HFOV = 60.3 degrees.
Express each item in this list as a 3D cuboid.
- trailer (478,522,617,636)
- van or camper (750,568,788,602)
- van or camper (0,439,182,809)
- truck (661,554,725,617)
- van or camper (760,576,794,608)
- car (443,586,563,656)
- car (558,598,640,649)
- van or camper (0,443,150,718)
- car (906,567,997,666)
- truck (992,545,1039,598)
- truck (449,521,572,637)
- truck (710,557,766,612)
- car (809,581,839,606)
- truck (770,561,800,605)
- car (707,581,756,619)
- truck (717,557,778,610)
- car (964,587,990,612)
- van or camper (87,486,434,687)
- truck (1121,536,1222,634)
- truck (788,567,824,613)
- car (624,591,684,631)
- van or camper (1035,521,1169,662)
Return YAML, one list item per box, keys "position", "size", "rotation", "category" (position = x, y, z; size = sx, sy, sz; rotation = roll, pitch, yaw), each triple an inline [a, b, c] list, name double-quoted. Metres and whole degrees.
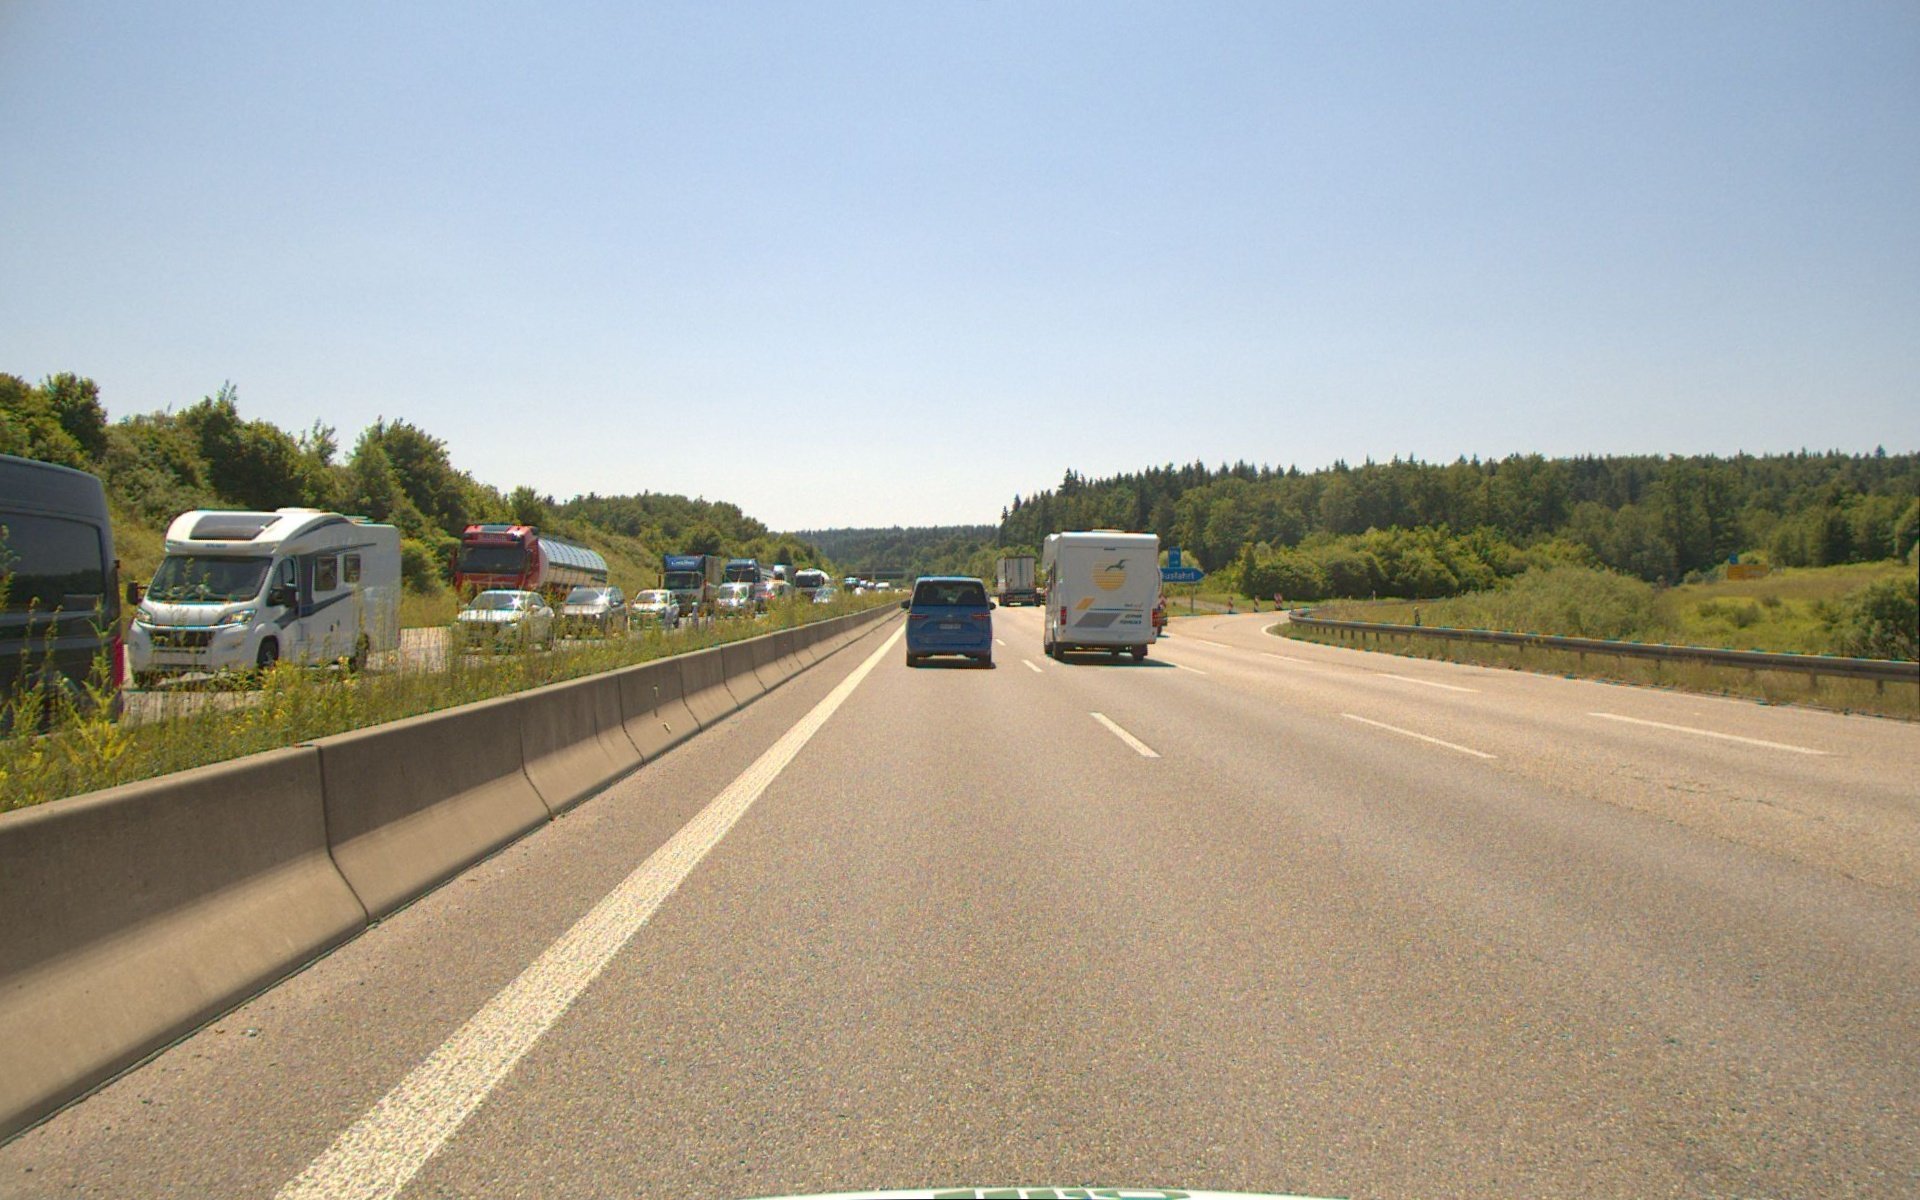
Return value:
- position: [-16.205, -0.786, 66.024]
  size: [2.625, 4.018, 12.271]
  rotation: [-3, 0, -2]
  category: "trailer"
- position: [-12.843, -0.954, 111.584]
  size: [1.953, 2.190, 5.953]
  rotation: [-1, 0, -1]
  category: "van or camper"
- position: [-7.535, 0.157, 10.118]
  size: [2.250, 2.477, 7.281]
  rotation: [0, 0, -1]
  category: "van or camper"
- position: [-16.499, -0.852, 102.896]
  size: [2.493, 3.739, 9.935]
  rotation: [0, 0, -1]
  category: "truck"
- position: [-12.923, -0.560, 117.049]
  size: [1.953, 2.190, 4.716]
  rotation: [-1, 0, -1]
  category: "van or camper"
- position: [-11.389, 0.497, 41.517]
  size: [1.844, 1.656, 4.357]
  rotation: [0, 0, -1]
  category: "car"
- position: [-11.804, 0.752, 54.401]
  size: [1.718, 1.611, 4.784]
  rotation: [0, 0, -1]
  category: "car"
- position: [-11.680, -0.220, 17.281]
  size: [2.492, 2.988, 7.828]
  rotation: [0, 0, 1]
  category: "van or camper"
- position: [-0.201, 0.307, 36.664]
  size: [1.870, 2.048, 4.000]
  rotation: [1, 1, -1]
  category: "car"
- position: [4.612, -2.304, 139.631]
  size: [3.416, 4.243, 8.640]
  rotation: [1, 0, -1]
  category: "truck"
- position: [-16.016, -0.709, 59.350]
  size: [2.726, 3.890, 6.031]
  rotation: [1, 0, -1]
  category: "truck"
- position: [-17.243, -1.165, 128.887]
  size: [3.419, 4.107, 6.642]
  rotation: [1, 0, -1]
  category: "truck"
- position: [-9.138, -0.409, 111.484]
  size: [1.718, 1.611, 4.853]
  rotation: [0, 0, -1]
  category: "car"
- position: [-16.914, -1.556, 160.014]
  size: [2.045, 4.099, 7.877]
  rotation: [1, 0, 0]
  category: "truck"
- position: [-12.406, 0.003, 90.063]
  size: [1.982, 1.992, 5.093]
  rotation: [0, 0, -1]
  category: "car"
- position: [-17.398, -1.341, 136.171]
  size: [3.505, 4.165, 12.577]
  rotation: [0, 0, -1]
  category: "truck"
- position: [1.255, -0.024, 124.106]
  size: [1.781, 1.825, 3.893]
  rotation: [1, 0, -1]
  category: "car"
- position: [-11.735, -0.190, 28.765]
  size: [2.492, 2.988, 8.131]
  rotation: [0, 0, 1]
  category: "van or camper"
- position: [8.354, -0.641, 66.339]
  size: [2.868, 3.637, 8.525]
  rotation: [-1, 1, -1]
  category: "truck"
- position: [-13.698, -0.872, 147.854]
  size: [2.565, 3.958, 7.401]
  rotation: [-1, 0, -1]
  category: "truck"
- position: [-12.443, 0.441, 67.527]
  size: [1.718, 1.577, 4.188]
  rotation: [1, 0, -1]
  category: "car"
- position: [3.397, -0.184, 41.224]
  size: [2.550, 3.132, 7.180]
  rotation: [1, 0, -1]
  category: "van or camper"
